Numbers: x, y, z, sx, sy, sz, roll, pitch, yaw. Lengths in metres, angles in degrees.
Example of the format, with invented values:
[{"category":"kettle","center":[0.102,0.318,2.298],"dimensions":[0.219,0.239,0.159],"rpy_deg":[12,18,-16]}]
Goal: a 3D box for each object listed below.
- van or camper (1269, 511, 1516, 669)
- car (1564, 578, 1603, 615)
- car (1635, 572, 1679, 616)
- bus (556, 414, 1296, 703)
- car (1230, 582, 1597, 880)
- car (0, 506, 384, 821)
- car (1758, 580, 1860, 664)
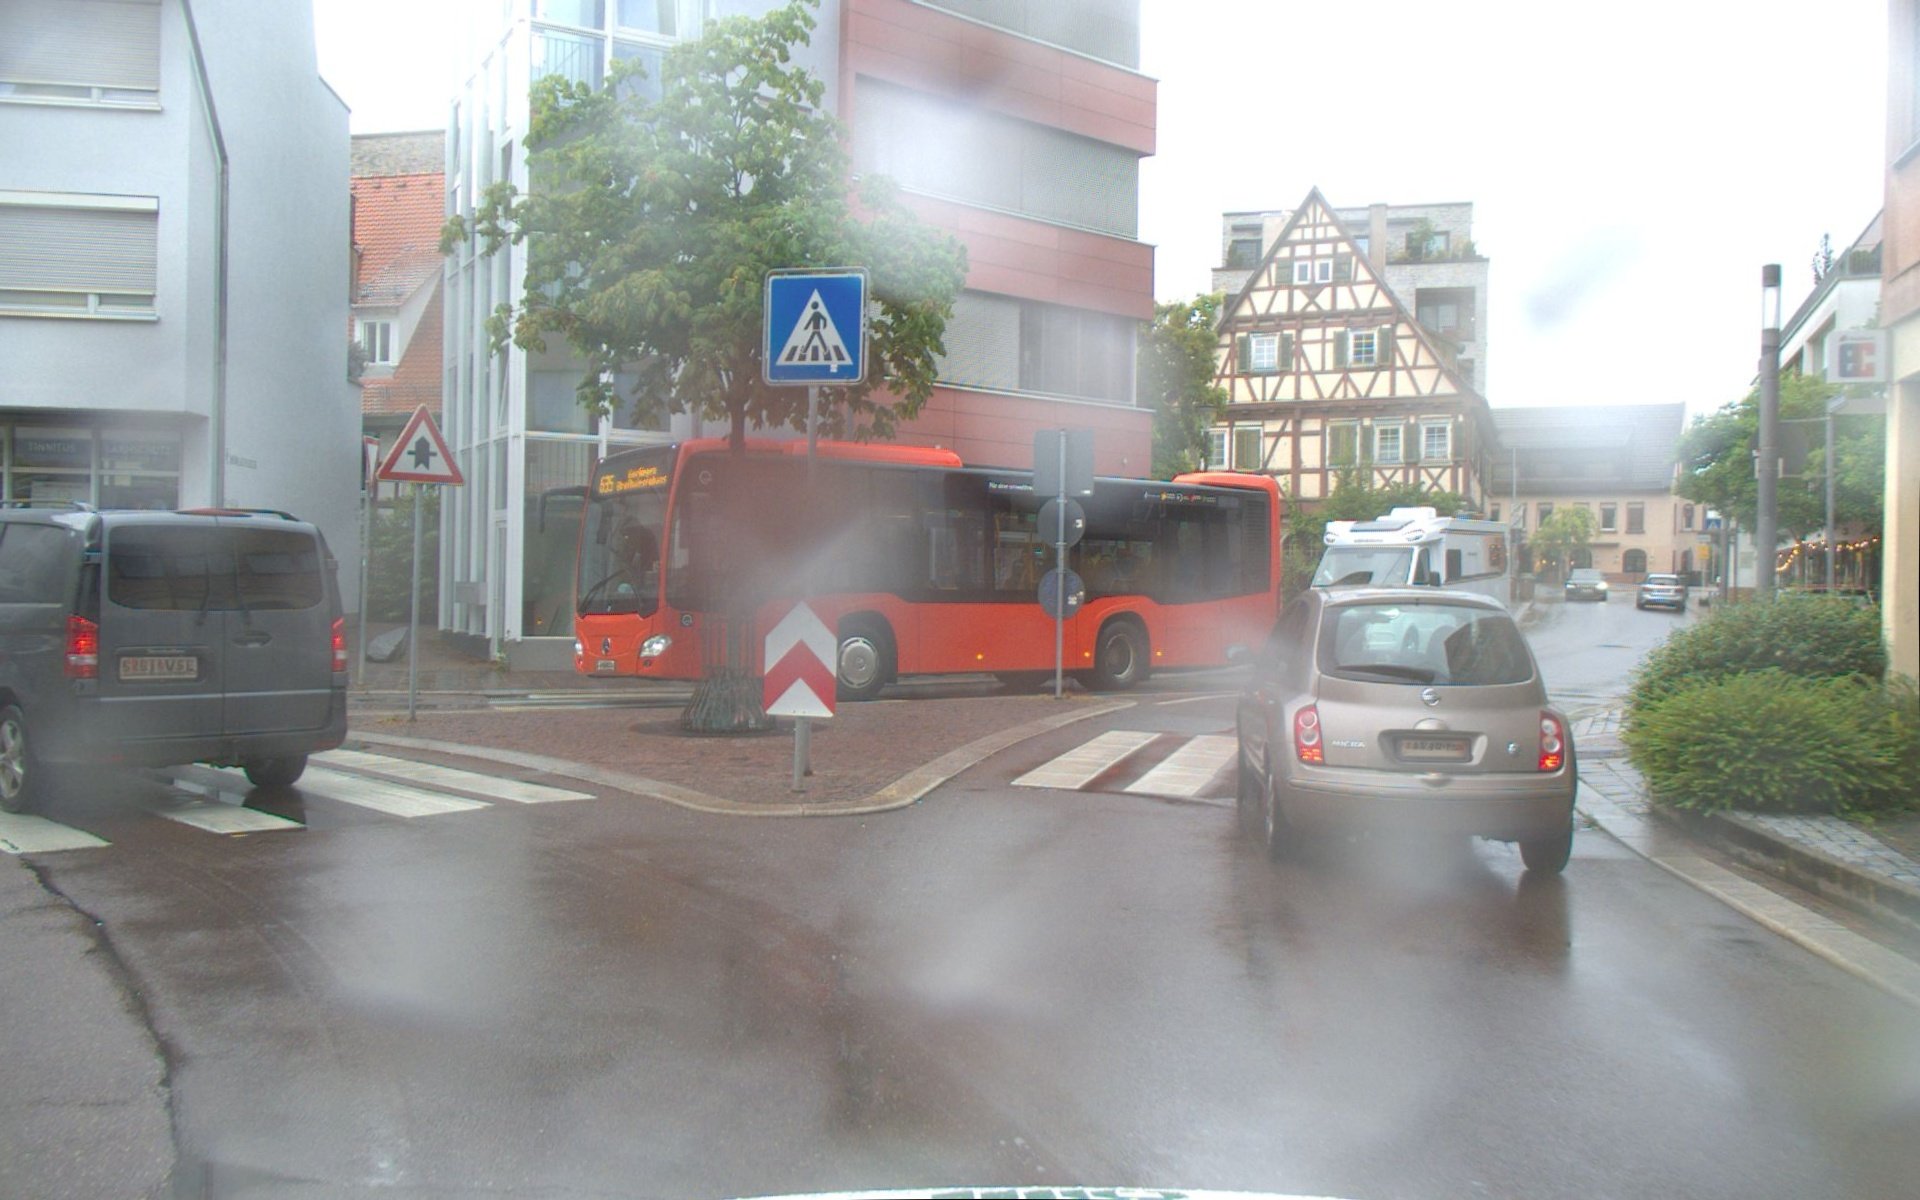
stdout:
[{"category":"van or camper","center":[8.290,-0.258,31.117],"dimensions":[2.395,2.630,6.730],"rpy_deg":[1,2,34]},{"category":"car","center":[29.808,-0.165,79.093],"dimensions":[1.553,1.742,3.322],"rpy_deg":[1,0,18]},{"category":"car","center":[28.795,-0.247,68.311],"dimensions":[1.641,1.742,3.319],"rpy_deg":[1,0,24]},{"category":"bus","center":[0.020,-0.392,22.358],"dimensions":[10.500,3.143,2.783],"rpy_deg":[0,-2,-39]},{"category":"car","center":[2.589,0.649,10.139],"dimensions":[1.490,1.496,3.343],"rpy_deg":[0,1,3]},{"category":"car","center":[-6.198,0.285,11.783],"dimensions":[4.642,1.812,1.942],"rpy_deg":[2,2,41]},{"category":"car","center":[15.049,0.368,29.302],"dimensions":[1.507,1.386,3.368],"rpy_deg":[1,0,28]}]
